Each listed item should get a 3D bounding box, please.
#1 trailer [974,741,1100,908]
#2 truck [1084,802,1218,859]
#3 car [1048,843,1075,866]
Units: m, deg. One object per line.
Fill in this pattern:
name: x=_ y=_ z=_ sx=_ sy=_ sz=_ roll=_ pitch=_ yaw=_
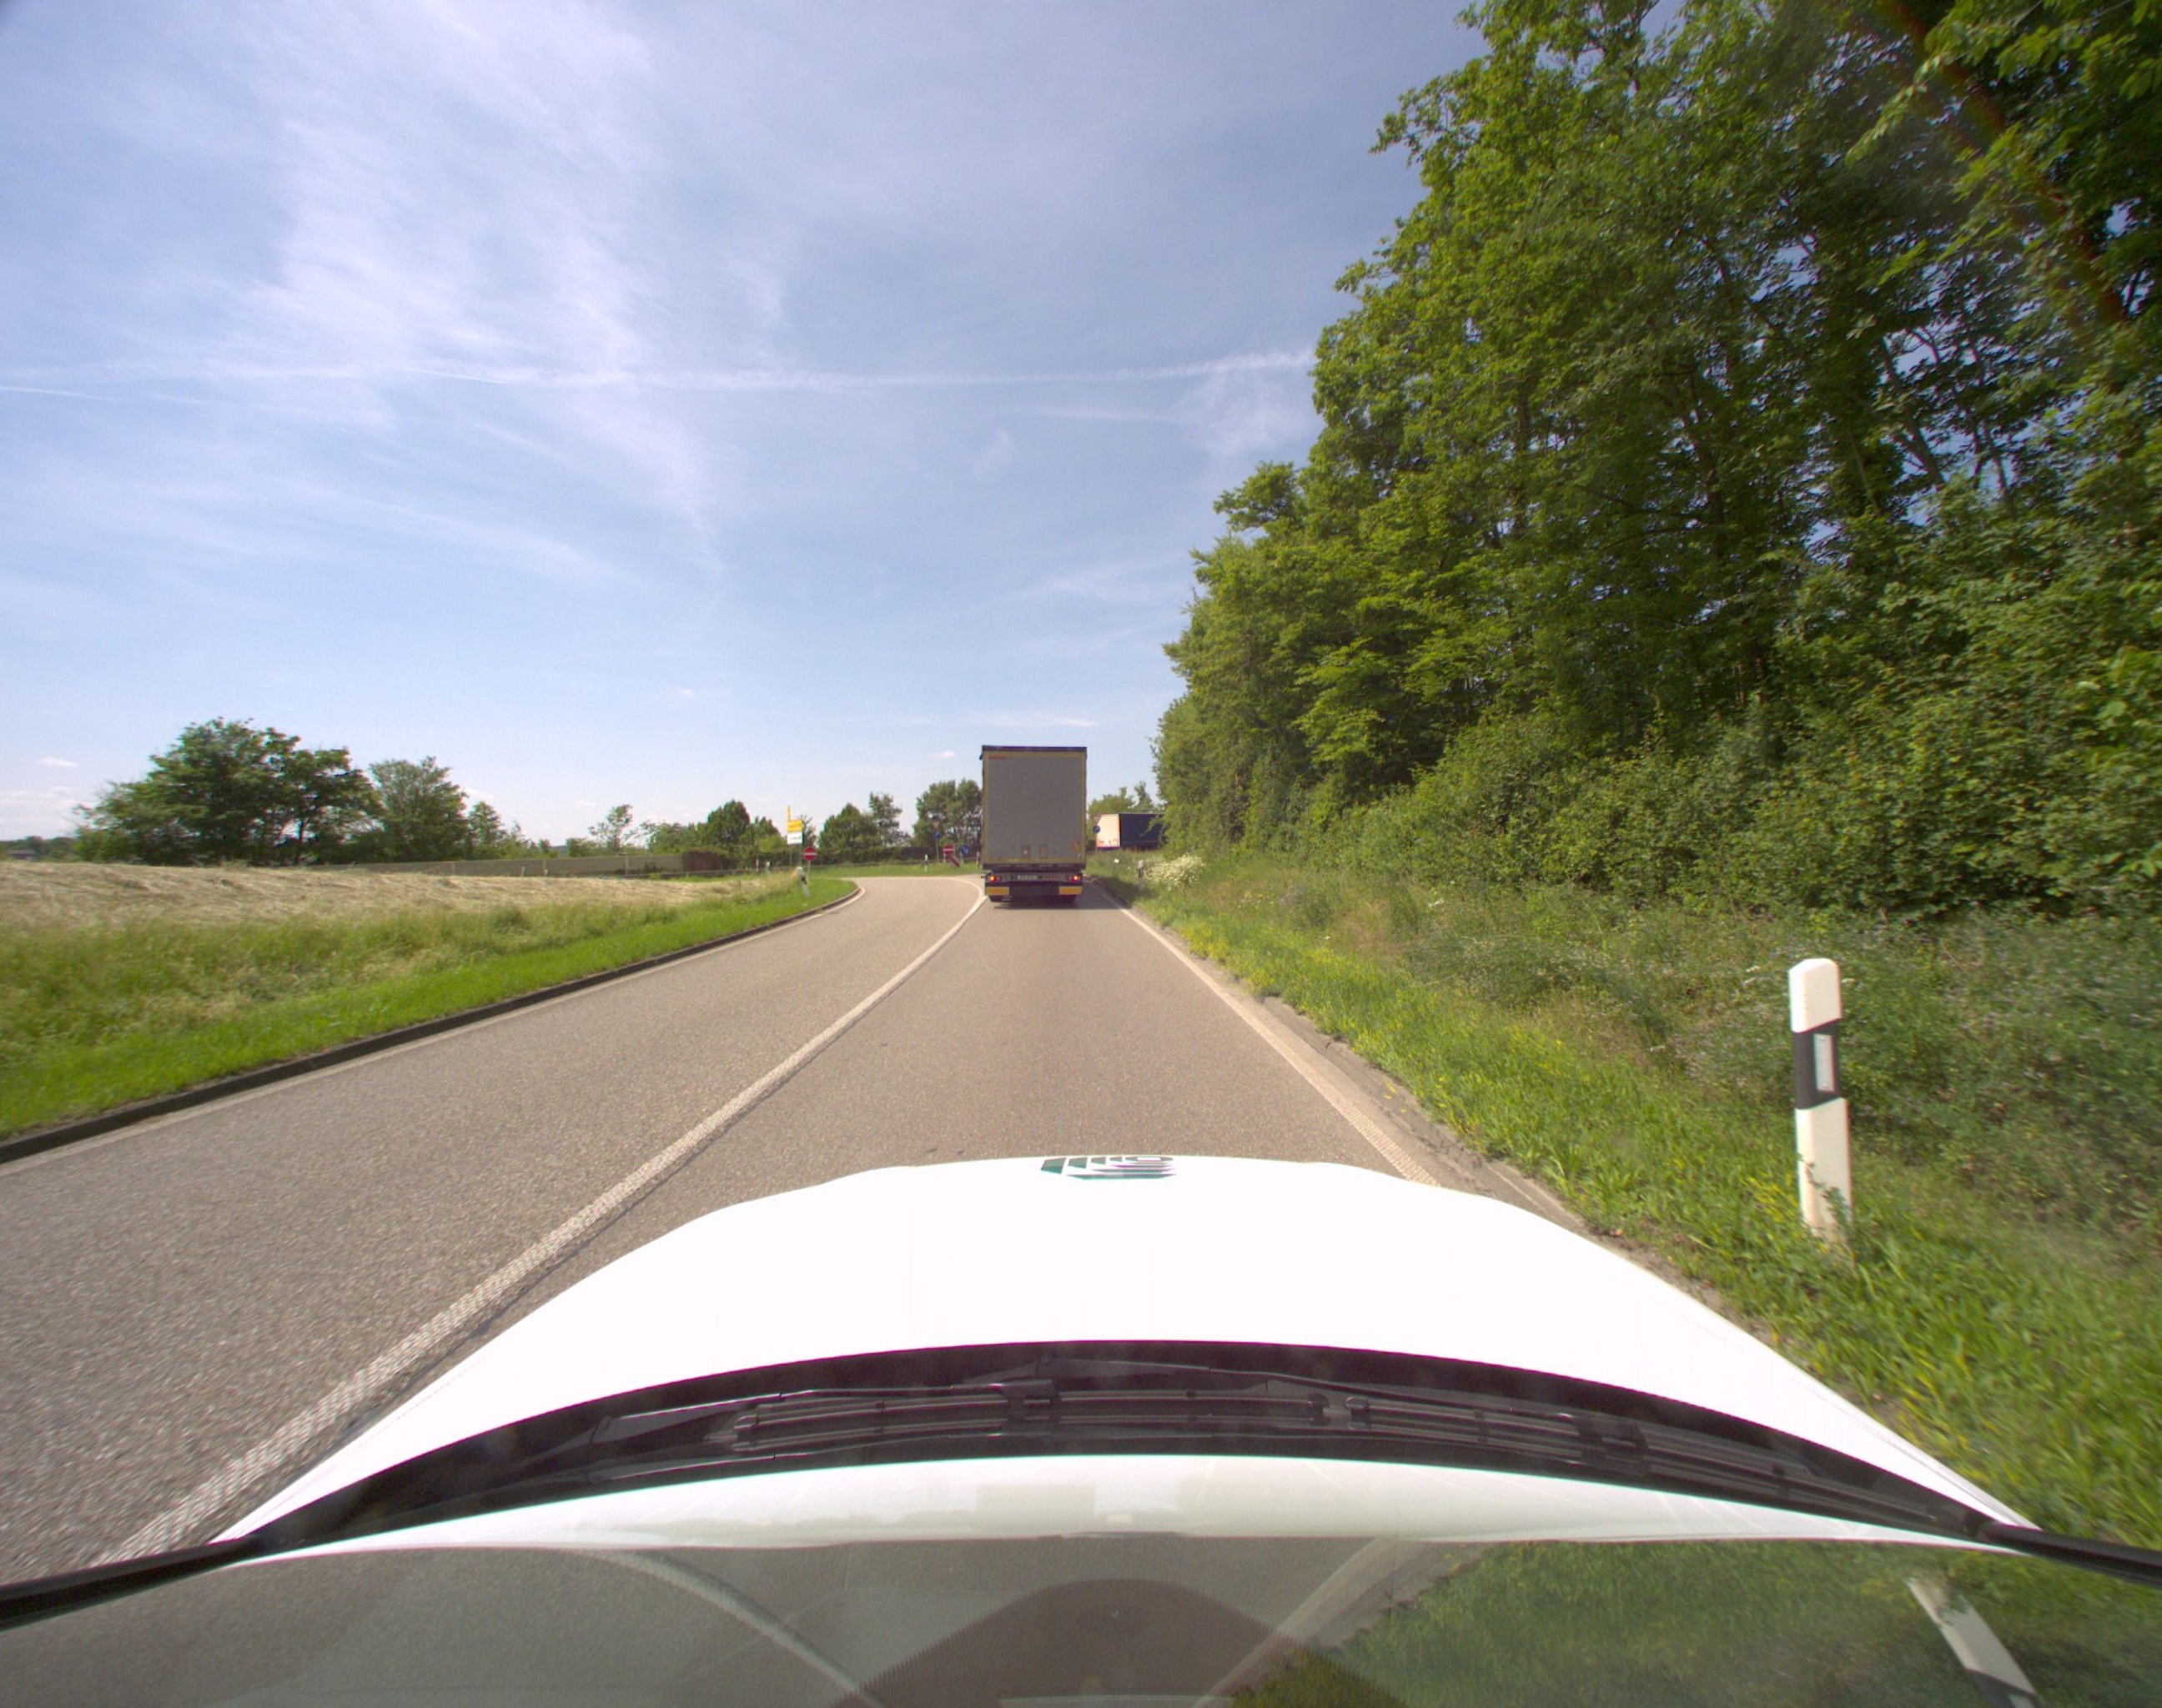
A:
trailer: x=-1.331 y=-0.797 z=26.367 sx=3.019 sy=4.034 sz=13.340 roll=0 pitch=1 yaw=-2
truck: x=6.999 y=-2.234 z=76.712 sx=3.791 sy=4.744 sz=16.306 roll=-2 pitch=0 yaw=39
car: x=-1.341 y=0.009 z=57.270 sx=1.660 sy=1.486 sz=4.002 roll=-2 pitch=1 yaw=1
